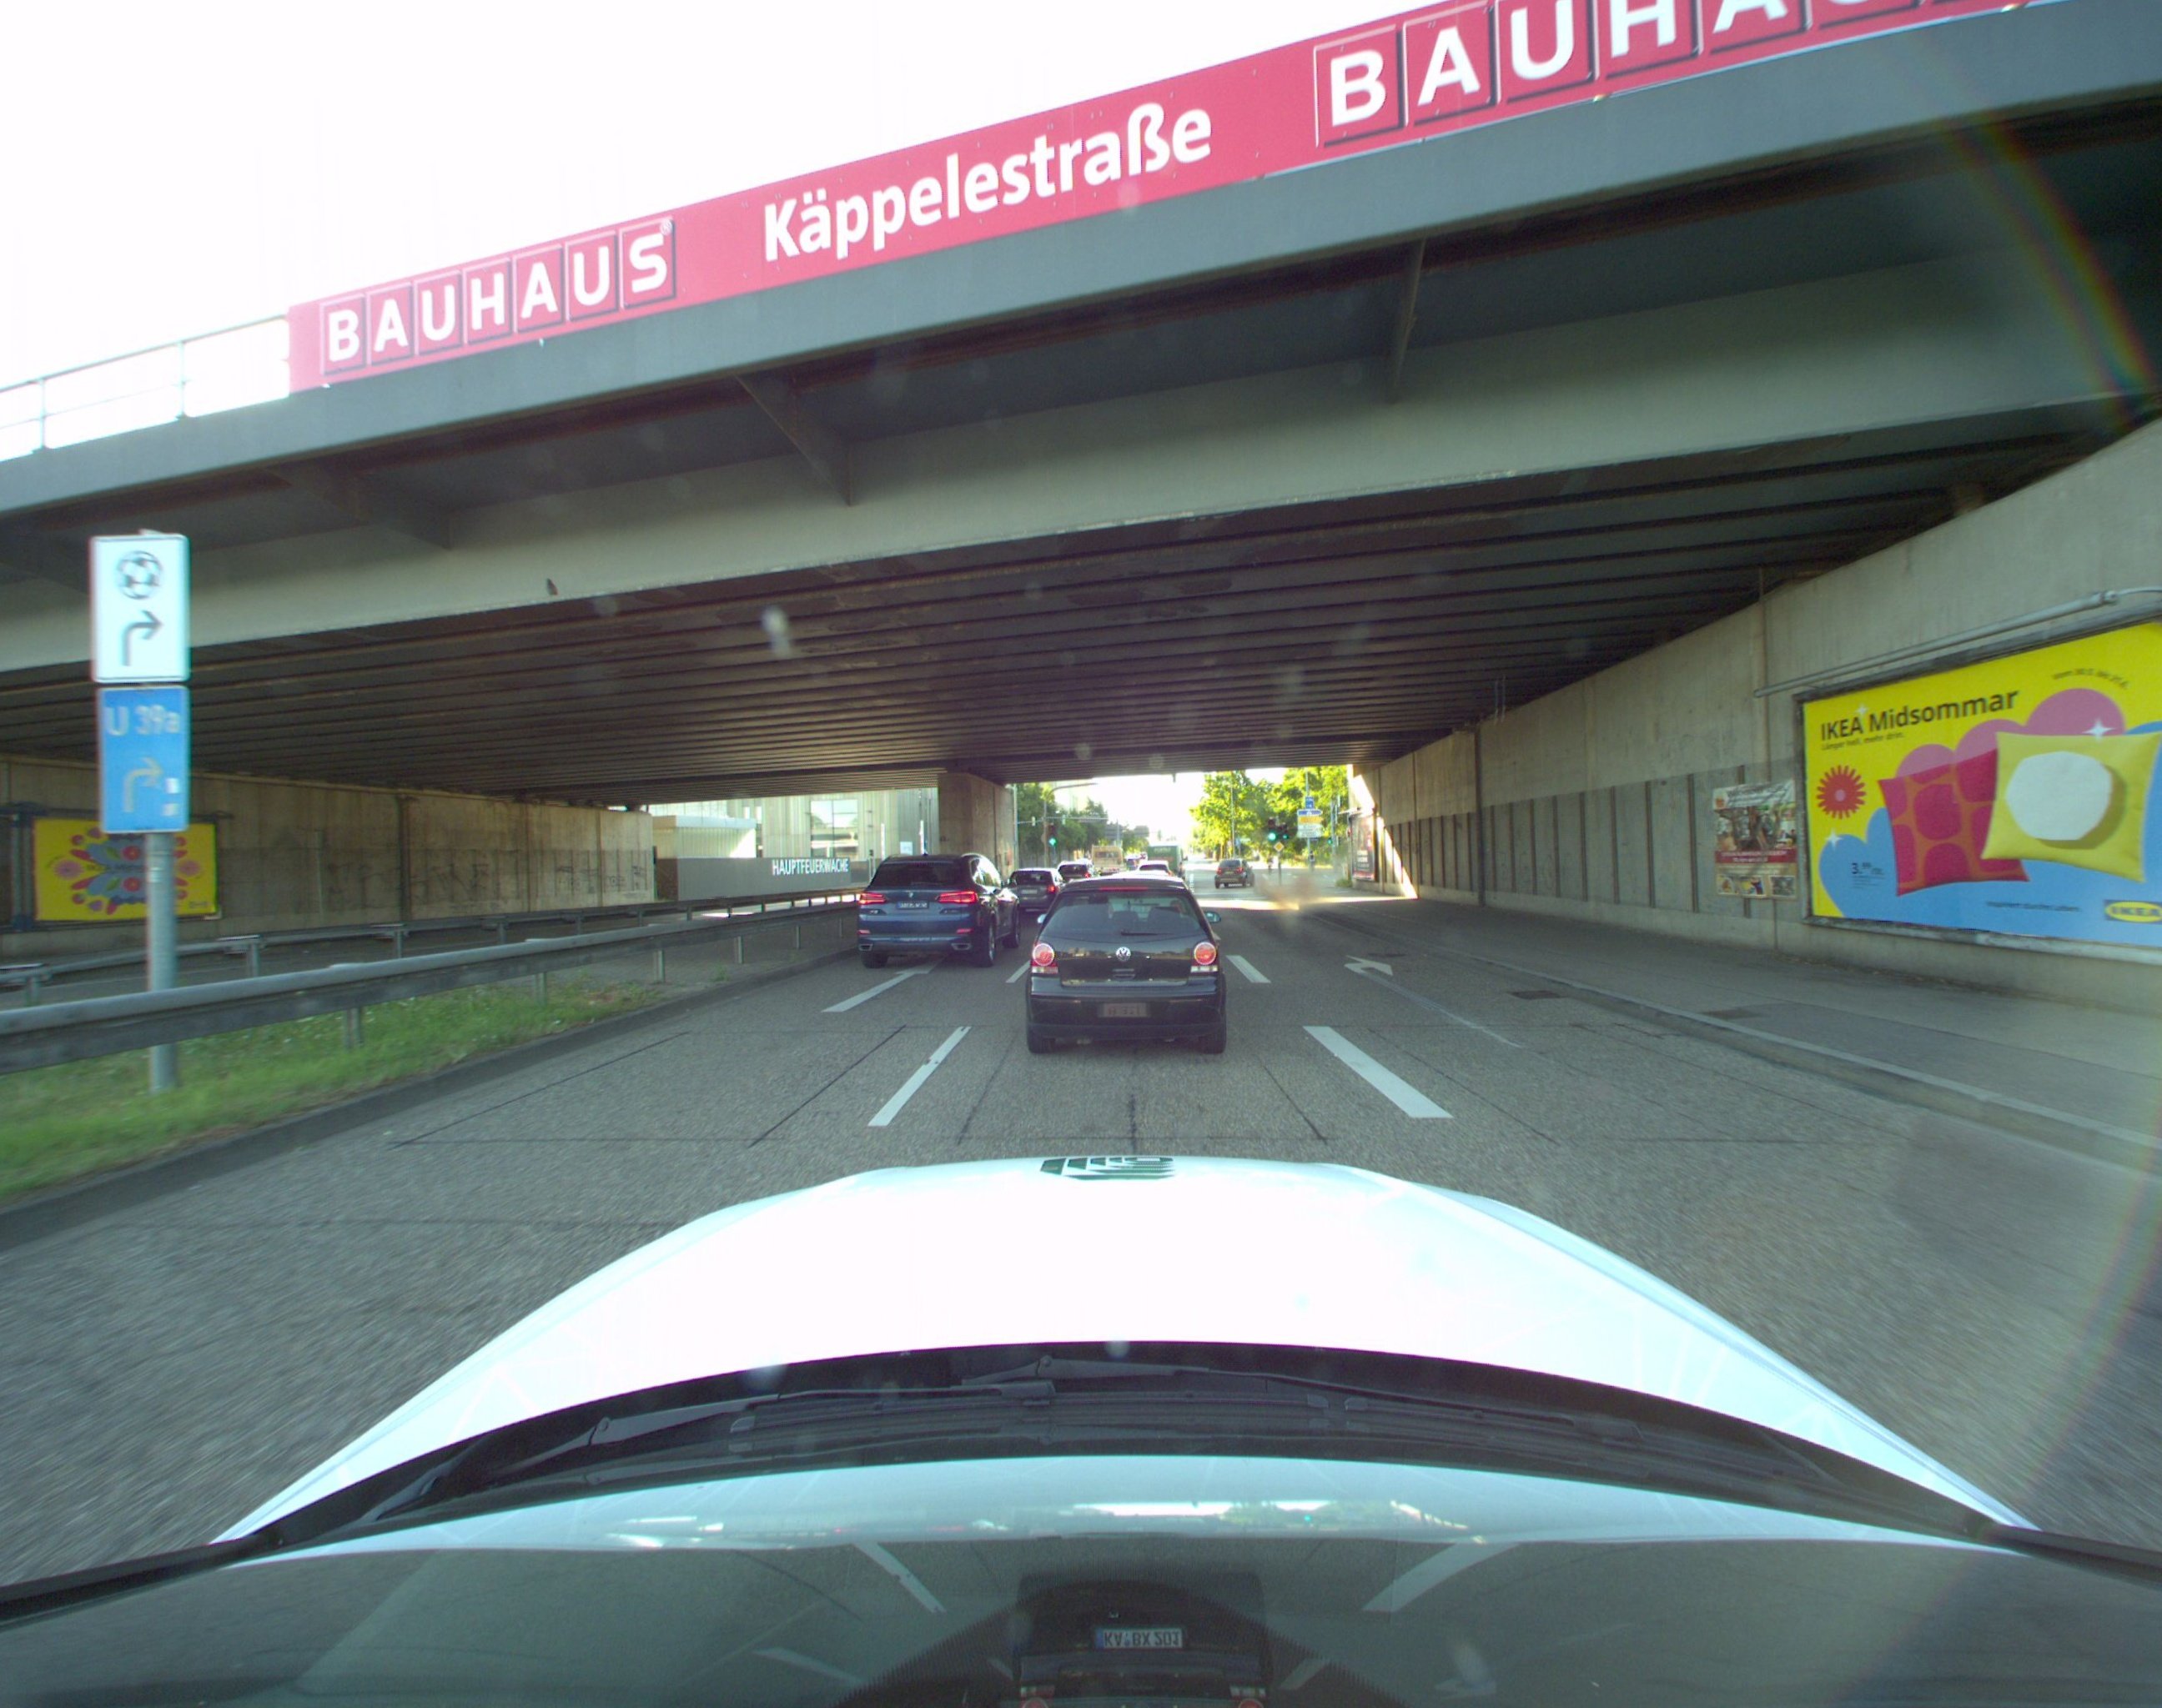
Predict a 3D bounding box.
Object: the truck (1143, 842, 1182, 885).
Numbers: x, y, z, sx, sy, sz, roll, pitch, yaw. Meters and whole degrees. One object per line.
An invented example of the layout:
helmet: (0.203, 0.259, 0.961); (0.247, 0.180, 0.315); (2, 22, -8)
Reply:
truck: (4.569, 0.553, 45.464); (1.985, 2.315, 4.009); (0, -1, 8)

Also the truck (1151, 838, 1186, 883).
truck: (5.447, 0.424, 50.408); (1.985, 2.669, 4.009); (0, -1, 8)

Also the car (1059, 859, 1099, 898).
car: (-0.053, 1.080, 36.506); (1.610, 1.679, 3.685); (0, -1, 2)

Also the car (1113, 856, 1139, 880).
car: (3.321, 1.015, 59.873); (1.608, 1.679, 3.690); (0, -1, 7)

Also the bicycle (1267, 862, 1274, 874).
bicycle: (14.644, 1.102, 62.880); (0.435, 0.914, 1.029); (-3, -2, 8)

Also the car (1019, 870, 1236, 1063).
car: (0.503, 0.869, 7.905); (1.609, 1.410, 3.688); (0, -1, 5)

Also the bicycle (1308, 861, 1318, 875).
bicycle: (18.379, 1.108, 64.456); (0.561, 1.112, 1.625); (0, -1, 8)

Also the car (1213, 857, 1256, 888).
car: (8.490, 0.999, 44.832); (1.723, 1.630, 4.081); (-1, -1, 19)

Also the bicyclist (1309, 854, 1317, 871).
bicyclist: (18.369, 0.662, 64.479); (0.540, 1.316, 0.837); (0, -1, 8)

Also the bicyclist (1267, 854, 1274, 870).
bicyclist: (14.630, 0.599, 62.850); (0.425, 1.233, 0.461); (-2, -1, 8)

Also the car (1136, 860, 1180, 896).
car: (3.529, 1.051, 36.679); (1.786, 1.559, 4.009); (0, -1, 8)

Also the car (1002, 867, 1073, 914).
car: (-1.324, 1.115, 25.997); (1.608, 1.410, 3.690); (0, -1, 7)

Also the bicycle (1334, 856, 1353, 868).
bicycle: (24.333, 0.723, 75.496); (1.647, 0.991, 0.581); (-2, 2, 24)

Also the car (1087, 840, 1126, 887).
car: (1.532, 0.549, 46.746); (2.128, 2.576, 5.090); (0, -1, 3)

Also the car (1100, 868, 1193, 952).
car: (1.197, 0.979, 15.735); (1.572, 1.413, 4.065); (0, -1, 3)

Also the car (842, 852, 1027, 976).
car: (-2.206, 0.874, 13.665); (1.985, 1.734, 4.537); (0, -1, 4)
